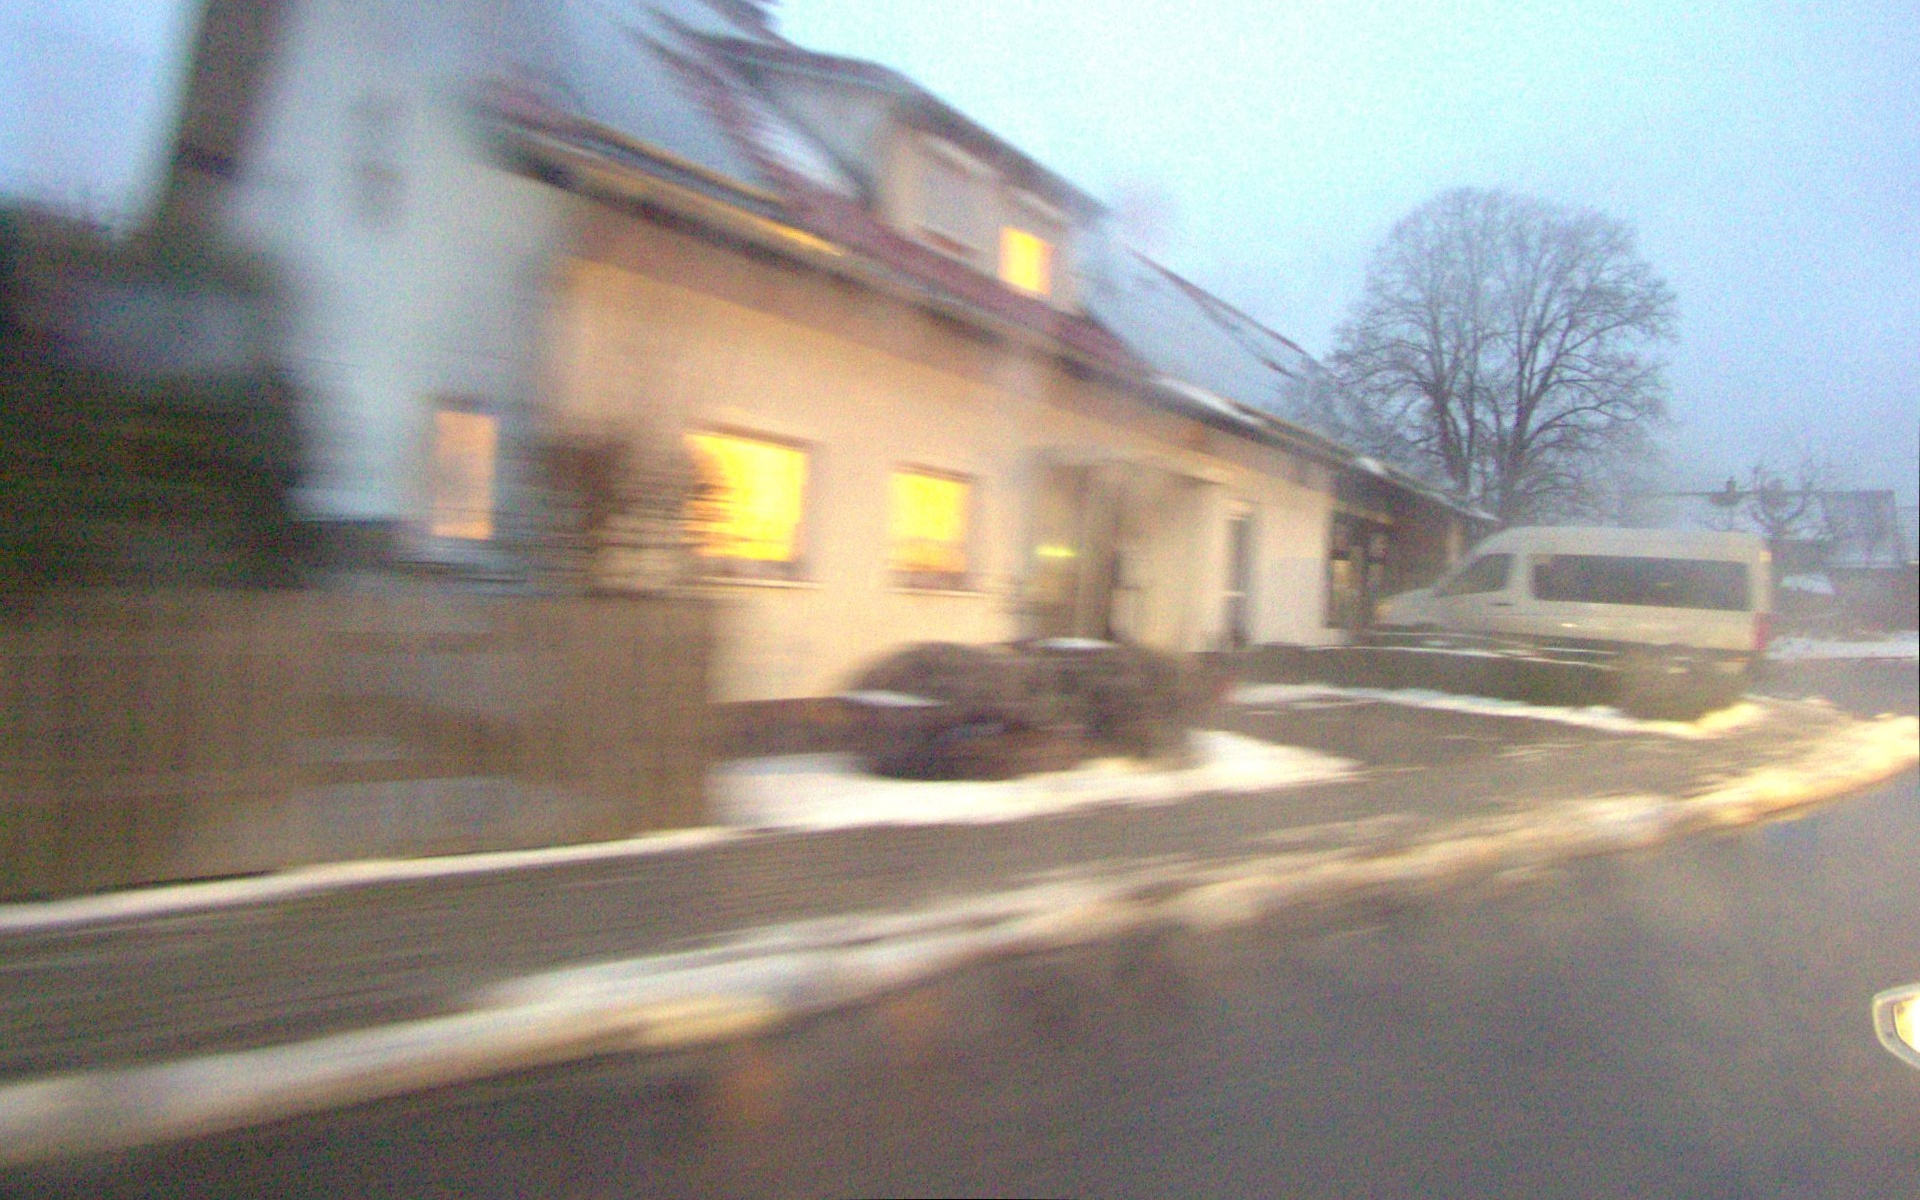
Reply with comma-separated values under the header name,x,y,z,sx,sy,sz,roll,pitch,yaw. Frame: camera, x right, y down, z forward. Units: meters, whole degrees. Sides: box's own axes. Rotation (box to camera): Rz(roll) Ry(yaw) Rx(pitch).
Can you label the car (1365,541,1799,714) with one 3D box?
name,x,y,z,sx,sy,sz,roll,pitch,yaw
car,10.406,0.353,17.419,6.005,2.587,1.997,2,0,29
